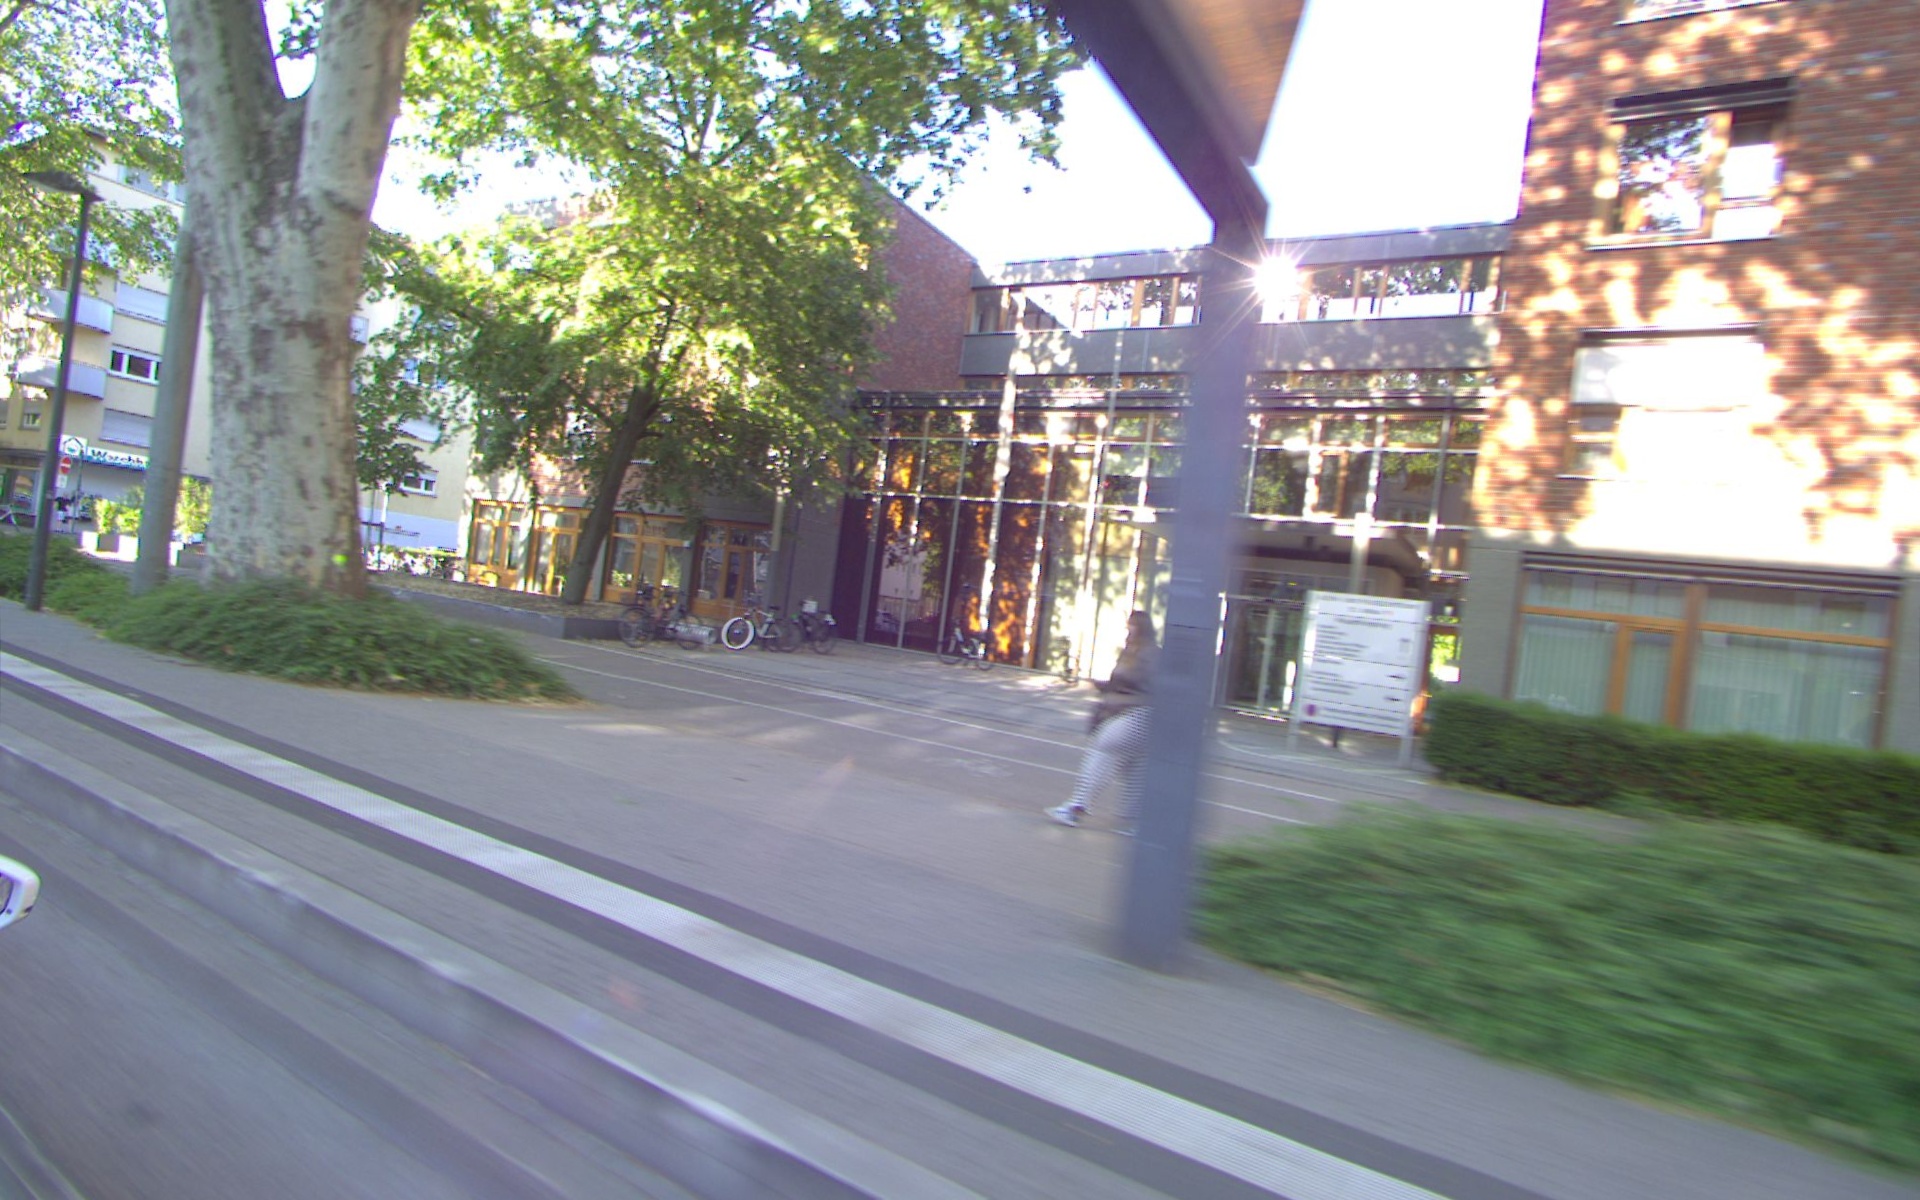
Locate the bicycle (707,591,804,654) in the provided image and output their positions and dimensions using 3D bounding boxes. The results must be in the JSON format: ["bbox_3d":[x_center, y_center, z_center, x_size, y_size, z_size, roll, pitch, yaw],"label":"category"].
[{"bbox_3d":[-4.220,0.486,20.940,0.563,1.171,2.030,7,1,36],"label":"bicycle"}]

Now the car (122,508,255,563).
[{"bbox_3d":[-31.956,-2.640,41.754,1.835,1.571,3.867,10,1,31],"label":"car"}]

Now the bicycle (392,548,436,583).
[{"bbox_3d":[-20.948,-1.320,38.578,1.669,1.171,0.661,7,2,31],"label":"bicycle"}]

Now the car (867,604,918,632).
[{"bbox_3d":[-5.185,1.408,77.659,1.835,1.713,3.867,7,-1,31],"label":"car"}]

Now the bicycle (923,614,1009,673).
[{"bbox_3d":[0.126,1.032,24.311,2.009,1.171,0.704,7,2,41],"label":"bicycle"}]

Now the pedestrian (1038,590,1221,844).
[{"bbox_3d":[1.210,0.820,7.325,0.902,1.680,0.766,7,0,-14],"label":"pedestrian"}]

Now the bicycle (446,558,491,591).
[{"bbox_3d":[-19.636,-1.019,40.170,1.666,1.172,0.521,7,2,21],"label":"bicycle"}]

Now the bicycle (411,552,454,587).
[{"bbox_3d":[-20.552,-1.176,39.180,1.669,1.171,0.661,7,2,31],"label":"bicycle"}]

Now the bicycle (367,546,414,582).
[{"bbox_3d":[-21.458,-1.346,37.889,1.820,1.171,0.661,7,2,31],"label":"bicycle"}]

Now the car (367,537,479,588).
[{"bbox_3d":[-23.747,-1.626,44.586,1.835,1.713,3.867,7,-1,31],"label":"car"}]

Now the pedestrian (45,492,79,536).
[{"bbox_3d":[-37.547,-3.605,42.066,0.649,1.703,0.703,7,1,4],"label":"pedestrian"}]

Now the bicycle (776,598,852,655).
[{"bbox_3d":[-3.254,0.613,22.577,0.563,1.171,1.676,7,1,36],"label":"bicycle"}]

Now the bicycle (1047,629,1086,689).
[{"bbox_3d":[2.407,1.291,22.672,0.719,1.171,1.950,6,1,6],"label":"bicycle"}]

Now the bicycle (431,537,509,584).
[{"bbox_3d":[-14.451,-1.147,29.685,1.921,1.171,0.565,6,1,-43],"label":"bicycle"}]

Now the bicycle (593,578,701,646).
[{"bbox_3d":[-6.021,0.256,19.478,0.562,1.171,2.032,7,1,32],"label":"bicycle"}]

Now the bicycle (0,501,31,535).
[{"bbox_3d":[-36.375,-3.160,37.958,0.731,1.171,1.797,6,1,10],"label":"bicycle"}]

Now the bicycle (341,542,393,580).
[{"bbox_3d":[-21.833,-1.428,37.010,2.017,1.171,0.731,7,2,32],"label":"bicycle"}]

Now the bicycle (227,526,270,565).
[{"bbox_3d":[-24.208,-1.853,34.215,1.671,1.171,0.600,7,2,35],"label":"bicycle"}]

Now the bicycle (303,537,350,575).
[{"bbox_3d":[-22.685,-1.584,36.023,1.950,1.171,0.636,7,2,34],"label":"bicycle"}]

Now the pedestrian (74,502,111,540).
[{"bbox_3d":[-36.872,-3.349,42.770,0.755,1.432,0.842,7,0,23],"label":"pedestrian"}]

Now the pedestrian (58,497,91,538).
[{"bbox_3d":[-36.593,-3.408,41.573,0.692,1.558,0.688,7,1,-18],"label":"pedestrian"}]

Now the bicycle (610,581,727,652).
[{"bbox_3d":[-5.419,0.328,18.790,0.564,1.171,2.027,7,1,41],"label":"bicycle"}]

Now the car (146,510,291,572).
[{"bbox_3d":[-27.682,-2.169,37.675,1.835,1.713,3.867,7,-1,31],"label":"car"}]
